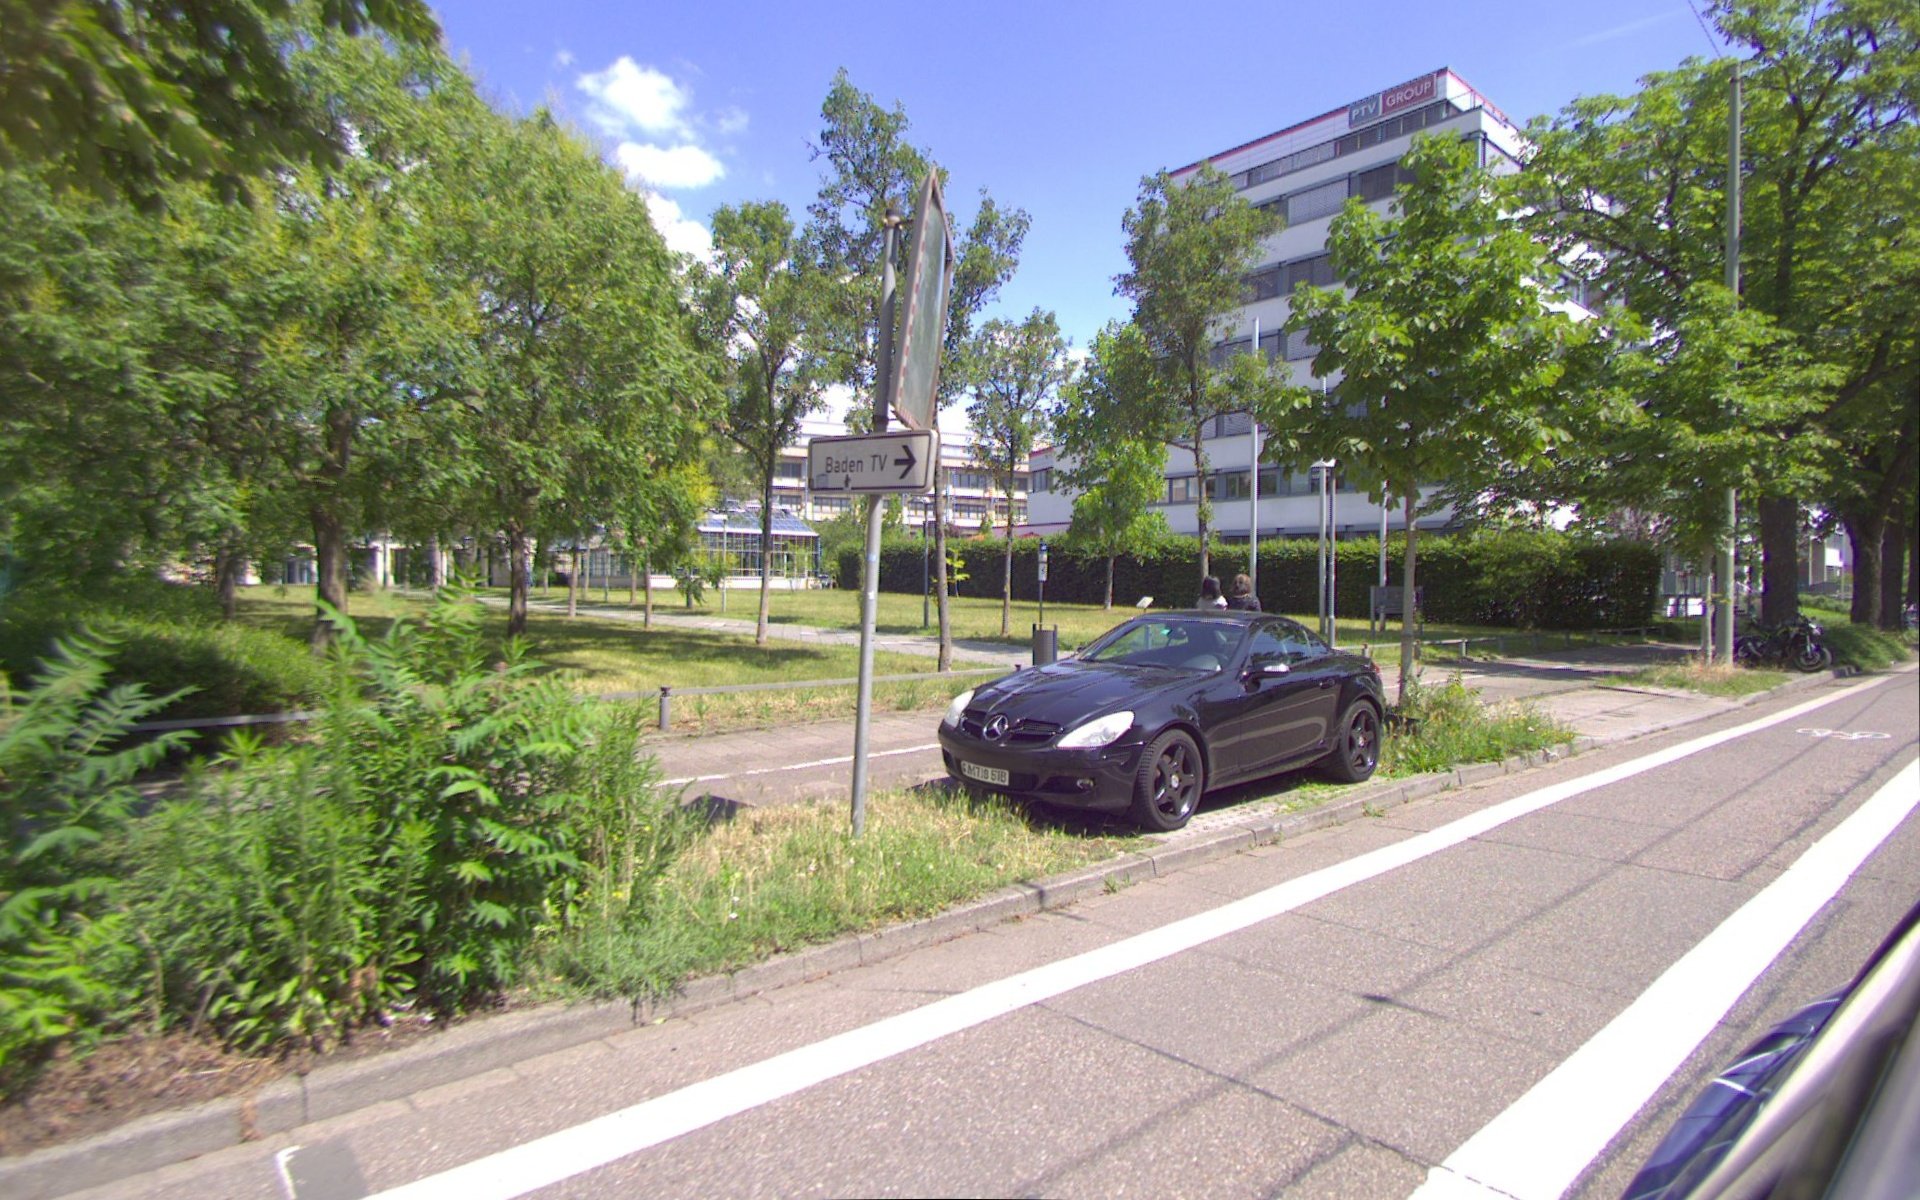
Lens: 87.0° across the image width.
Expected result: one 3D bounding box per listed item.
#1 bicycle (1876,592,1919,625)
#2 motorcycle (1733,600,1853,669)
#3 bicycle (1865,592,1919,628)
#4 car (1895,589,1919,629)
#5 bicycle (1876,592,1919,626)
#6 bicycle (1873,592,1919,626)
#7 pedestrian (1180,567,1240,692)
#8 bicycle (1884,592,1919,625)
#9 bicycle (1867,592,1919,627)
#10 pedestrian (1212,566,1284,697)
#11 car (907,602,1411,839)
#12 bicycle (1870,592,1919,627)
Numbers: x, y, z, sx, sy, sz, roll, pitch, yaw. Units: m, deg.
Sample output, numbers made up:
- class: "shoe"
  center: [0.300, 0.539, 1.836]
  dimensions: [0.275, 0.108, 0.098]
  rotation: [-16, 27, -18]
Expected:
- class: "bicycle"
  center: [33.447, 0.311, 35.566]
  dimensions: [1.806, 1.125, 0.528]
  rotation: [2, 2, 41]
- class: "motorcycle"
  center: [16.375, 0.649, 19.965]
  dimensions: [0.601, 1.227, 2.063]
  rotation: [-1, 1, -2]
- class: "bicycle"
  center: [31.290, 0.328, 33.582]
  dimensions: [0.442, 1.125, 1.810]
  rotation: [0, 2, -43]
- class: "car"
  center: [37.954, 0.352, 39.510]
  dimensions: [4.554, 1.485, 1.679]
  rotation: [0, 2, -42]
- class: "bicycle"
  center: [33.037, 0.320, 35.109]
  dimensions: [1.806, 1.125, 0.525]
  rotation: [2, 2, 41]
- class: "bicycle"
  center: [32.554, 0.315, 34.679]
  dimensions: [1.803, 1.125, 0.484]
  rotation: [2, 2, 36]
- class: "pedestrian"
  center: [3.284, 0.368, 13.301]
  dimensions: [0.535, 1.593, 0.514]
  rotation: [0, 2, -41]
- class: "bicycle"
  center: [34.013, 0.298, 35.889]
  dimensions: [0.506, 1.125, 1.809]
  rotation: [0, 2, -44]
- class: "bicycle"
  center: [31.599, 0.325, 33.872]
  dimensions: [0.388, 1.125, 1.810]
  rotation: [0, 2, -43]
- class: "pedestrian"
  center: [3.643, 0.378, 12.805]
  dimensions: [0.600, 1.593, 0.620]
  rotation: [0, 2, -40]
- class: "car"
  center: [1.626, 0.683, 7.570]
  dimensions: [3.766, 1.286, 1.754]
  rotation: [-1, 0, -41]
- class: "bicycle"
  center: [31.913, 0.316, 34.110]
  dimensions: [0.388, 1.125, 1.810]
  rotation: [0, 2, -43]
